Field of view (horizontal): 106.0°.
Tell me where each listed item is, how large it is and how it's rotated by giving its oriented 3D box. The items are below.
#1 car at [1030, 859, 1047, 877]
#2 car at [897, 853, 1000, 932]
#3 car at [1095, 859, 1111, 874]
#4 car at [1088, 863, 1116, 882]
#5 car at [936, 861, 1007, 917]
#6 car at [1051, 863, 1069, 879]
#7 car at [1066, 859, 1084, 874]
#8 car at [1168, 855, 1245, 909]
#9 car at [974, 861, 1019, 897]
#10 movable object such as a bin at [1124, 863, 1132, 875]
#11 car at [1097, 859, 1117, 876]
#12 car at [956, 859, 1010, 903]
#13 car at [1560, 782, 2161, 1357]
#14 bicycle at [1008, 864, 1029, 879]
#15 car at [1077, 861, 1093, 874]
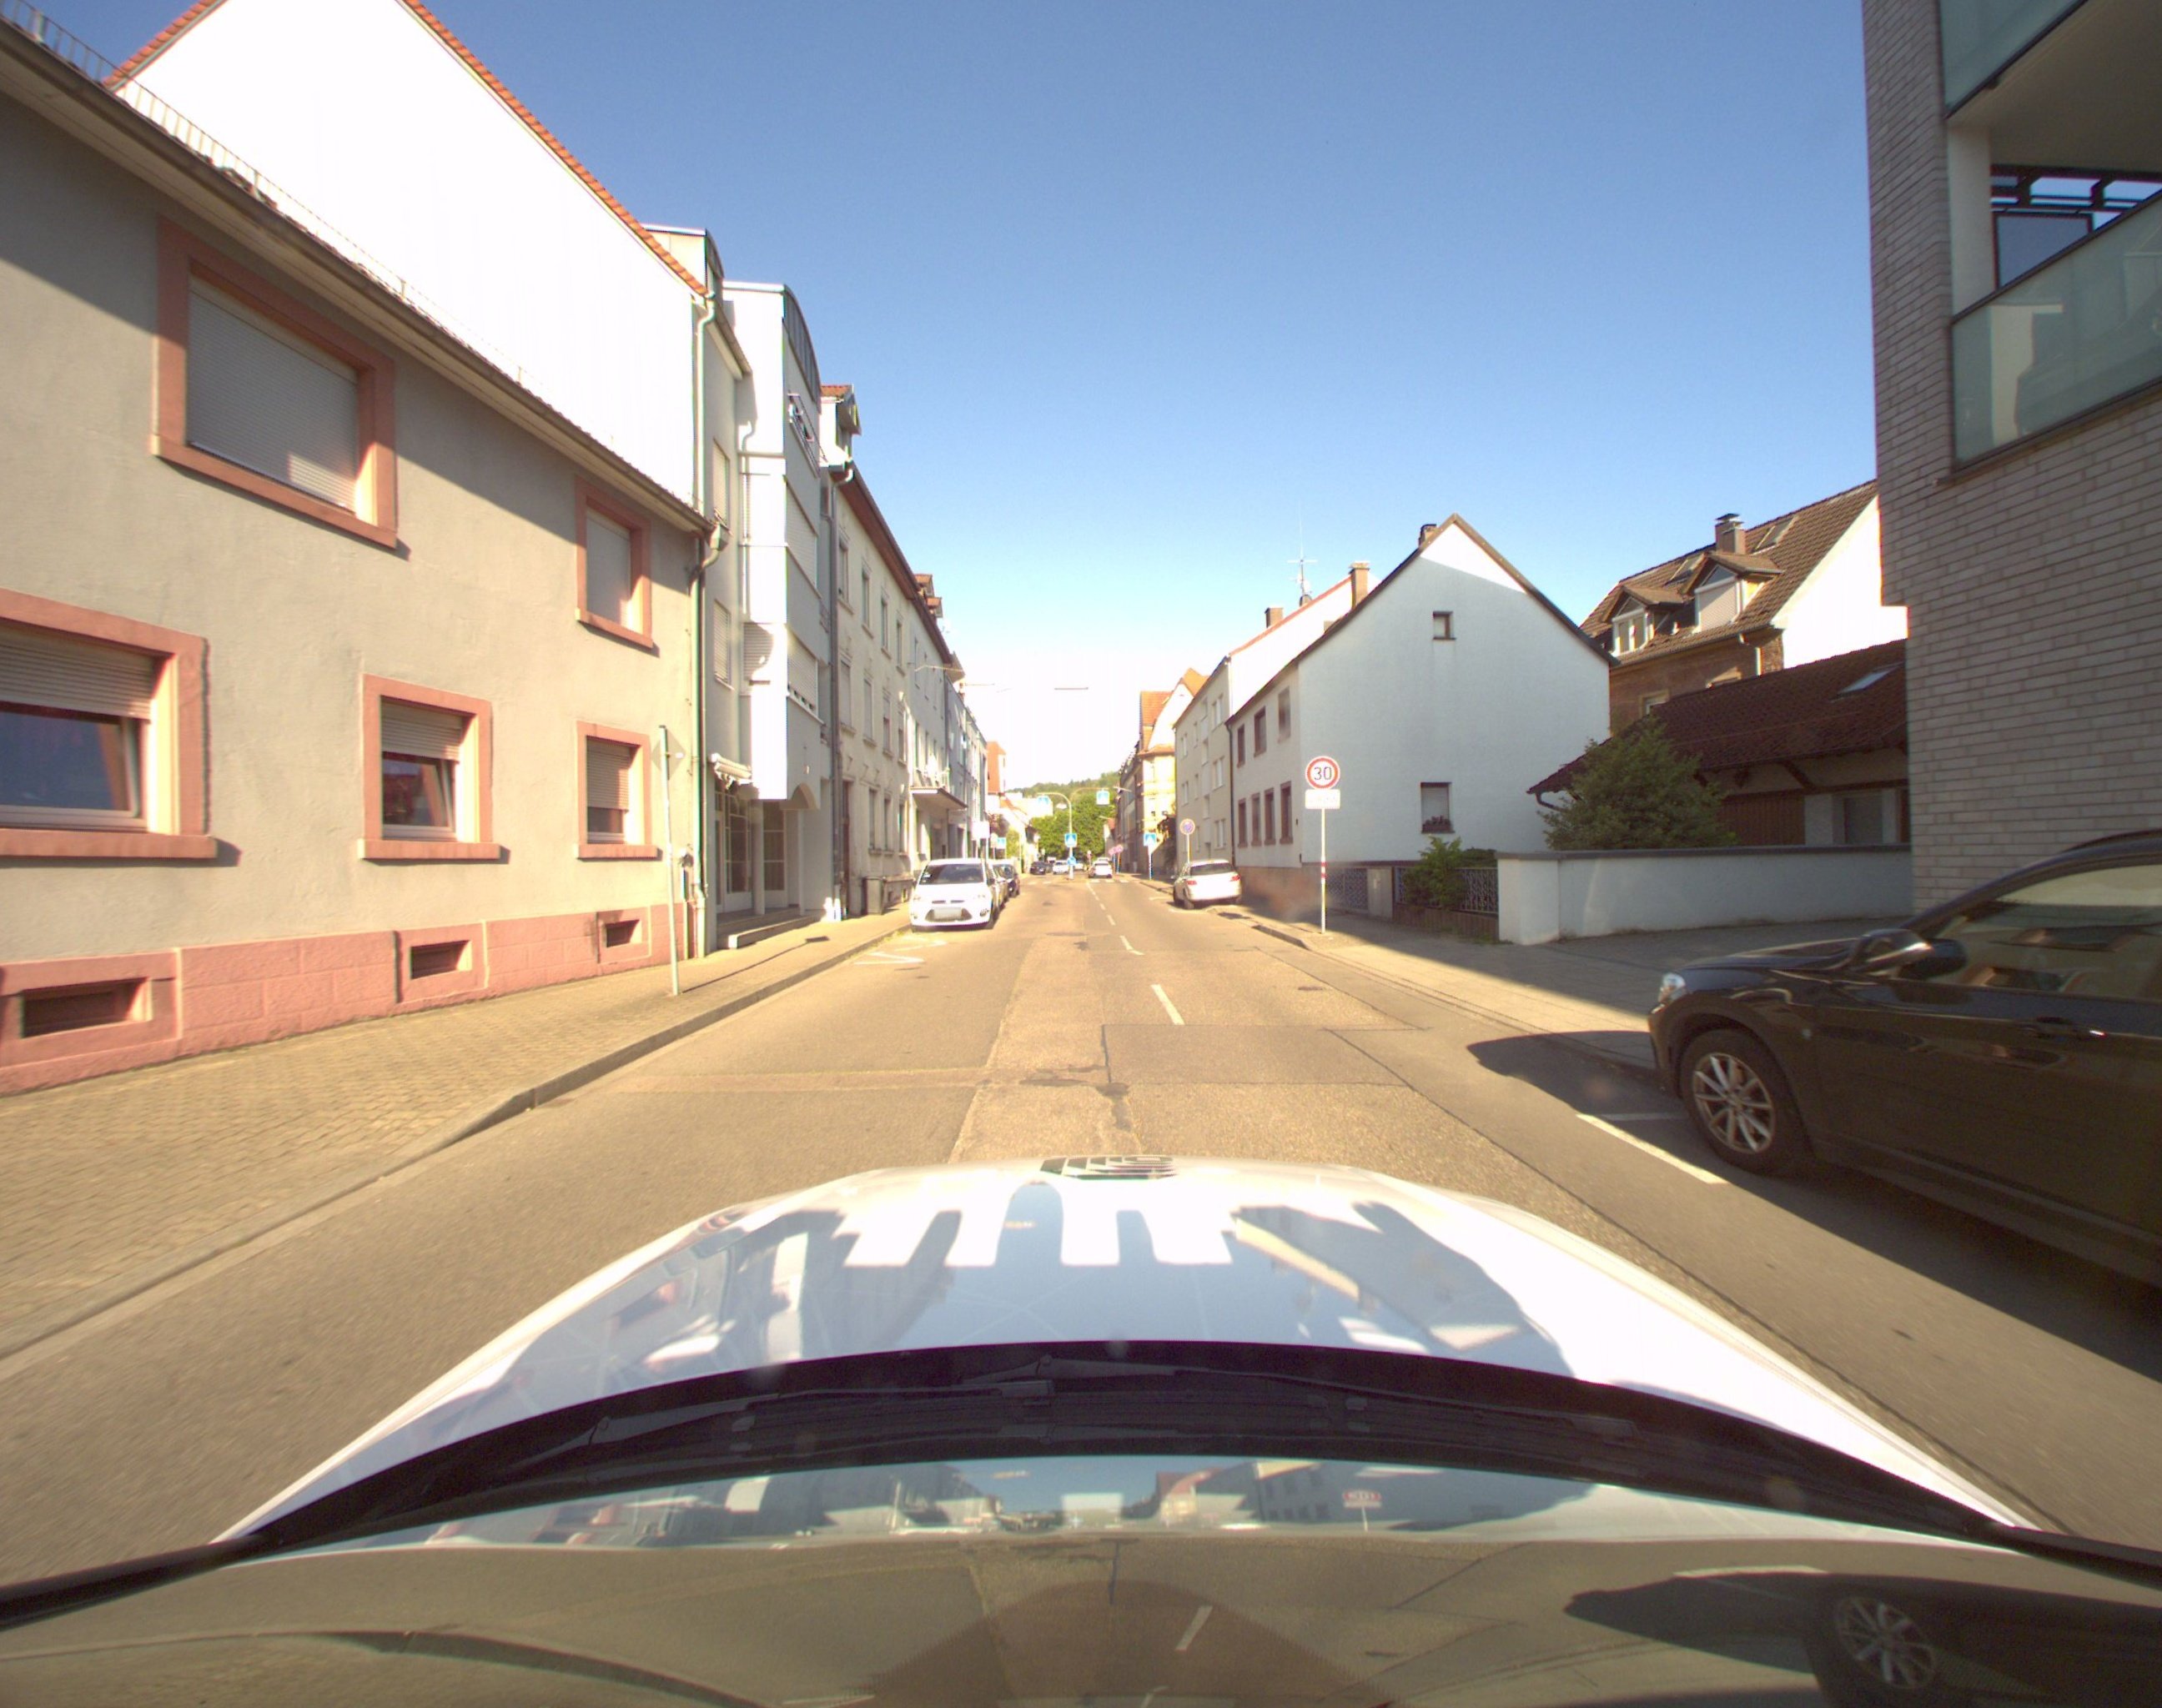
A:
[{"bbox_3d":[-5.027,1.649,96.268,1.989,2.014,3.996,0,0,-3],"label":"car"},{"bbox_3d":[-3.050,0.837,19.773,1.990,1.648,5.214,0,0,-4],"label":"car"},{"bbox_3d":[2.841,1.622,107.126,1.836,1.906,3.997,-2,0,-2],"label":"car"},{"bbox_3d":[1.682,1.478,67.048,1.989,1.466,3.995,-1,-1,-3],"label":"car"},{"bbox_3d":[-3.318,1.009,25.354,1.760,1.496,4.122,-3,0,-3],"label":"car"},{"bbox_3d":[-2.509,1.955,95.918,1.804,1.701,4.184,-3,0,-5],"label":"car"},{"bbox_3d":[-0.882,1.822,117.890,1.994,2.014,3.986,-1,-1,-10],"label":"car"},{"bbox_3d":[3.923,0.839,26.122,1.736,1.492,4.437,-2,-1,0],"label":"car"},{"bbox_3d":[-3.704,1.091,36.253,1.726,1.499,3.955,-1,-1,-2],"label":"car"},{"bbox_3d":[5.867,1.844,101.719,0.869,1.377,0.684,-2,0,-2],"label":"movable object such as a bin"},{"bbox_3d":[2.889,1.523,90.845,2.006,1.853,3.997,0,0,-2],"label":"car"},{"bbox_3d":[-3.584,0.976,30.348,1.655,1.526,3.806,0,-1,-2],"label":"car"},{"bbox_3d":[3.951,0.565,2.737,1.849,1.636,4.621,-3,0,-1],"label":"car"},{"bbox_3d":[-5.384,1.504,70.365,1.781,1.184,0.599,-1,-1,-1],"label":"bicycle"},{"bbox_3d":[0.617,2.273,138.583,1.995,2.014,3.984,-1,-1,-12],"label":"car"}]
